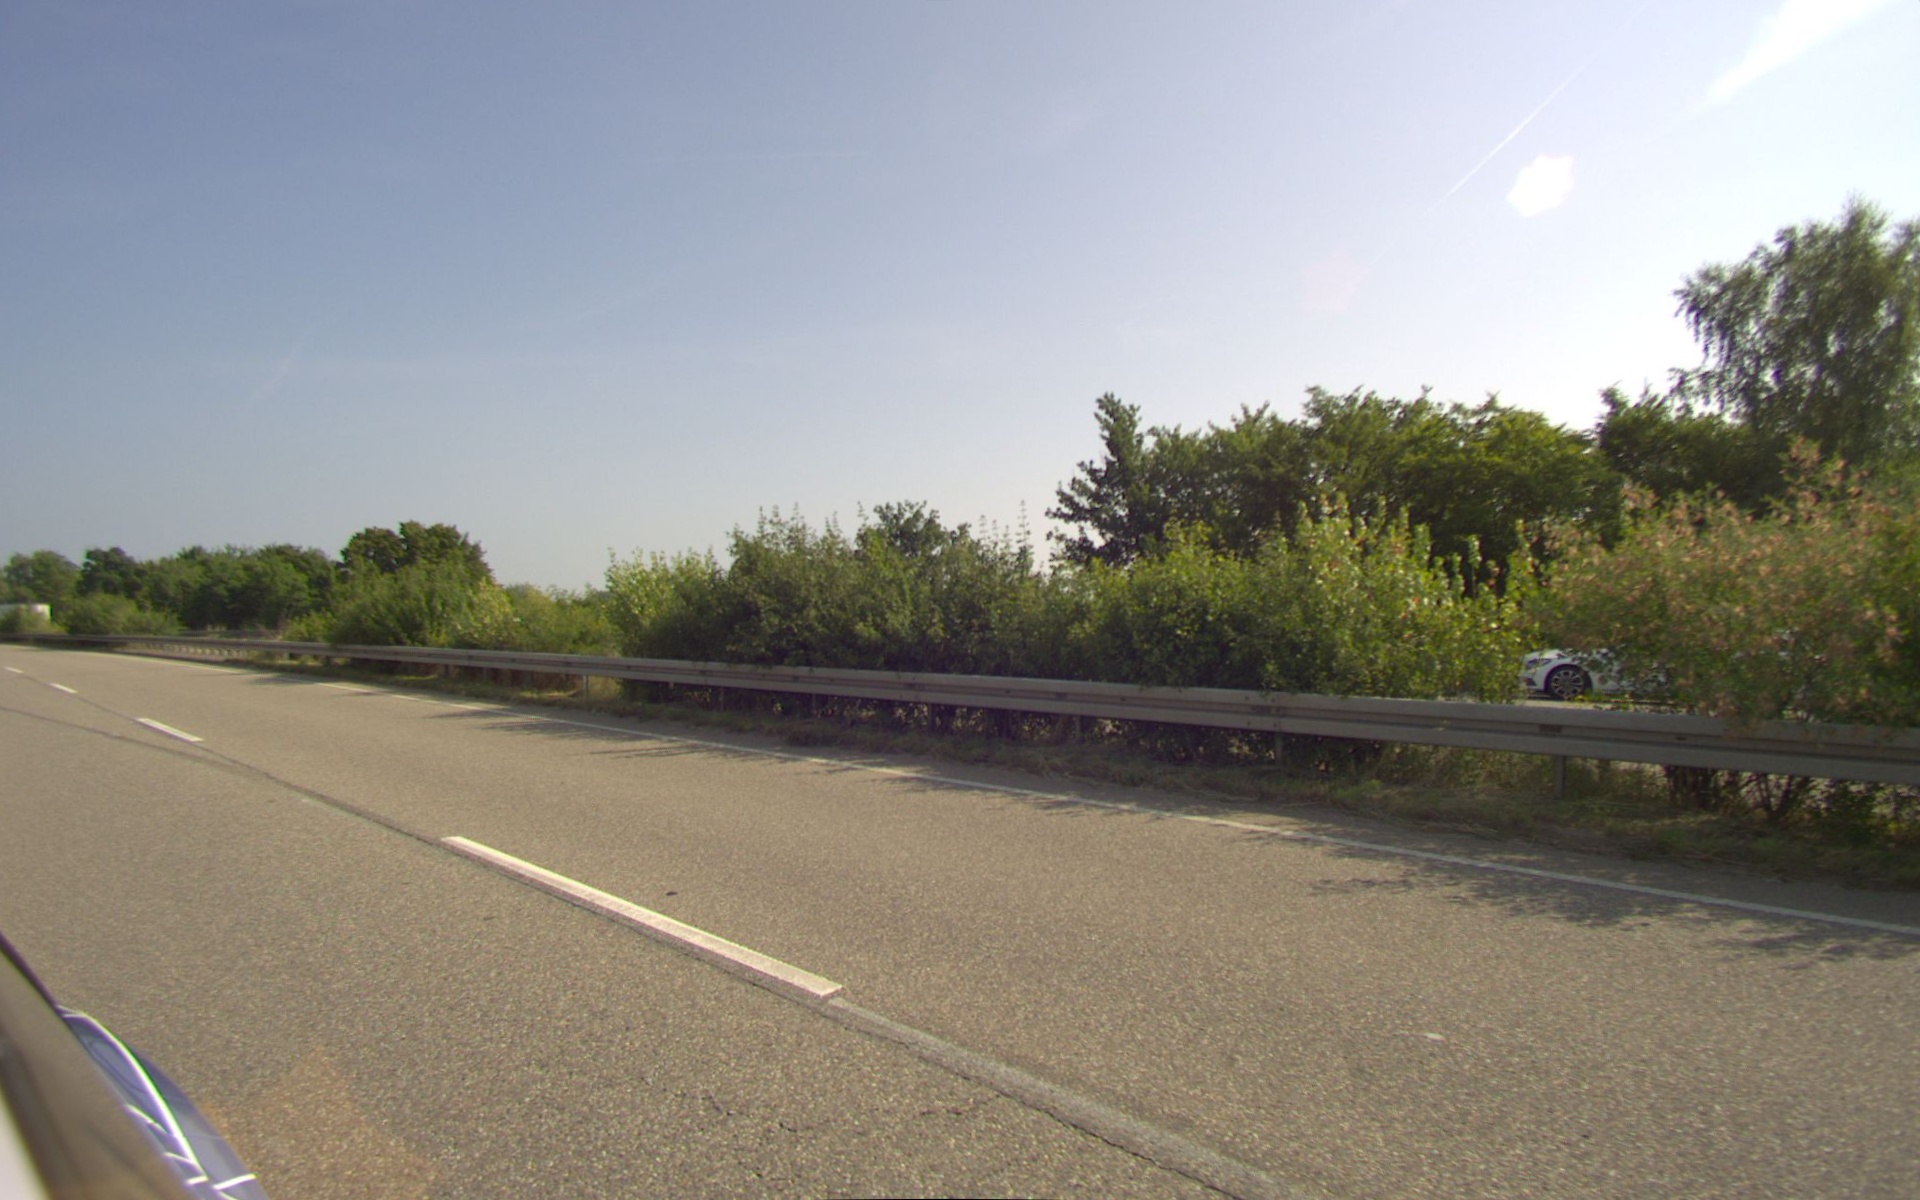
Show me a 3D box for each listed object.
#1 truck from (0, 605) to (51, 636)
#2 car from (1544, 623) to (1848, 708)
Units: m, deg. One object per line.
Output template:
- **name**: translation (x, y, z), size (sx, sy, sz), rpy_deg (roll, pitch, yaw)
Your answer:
- **truck**: translation (-105.987, 2.313, 114.114), size (14.100, 3.302, 2.841), rpy_deg (-1, 0, 38)
- **car**: translation (12.746, 1.121, 17.857), size (3.973, 1.360, 1.747), rpy_deg (-1, -2, 22)
